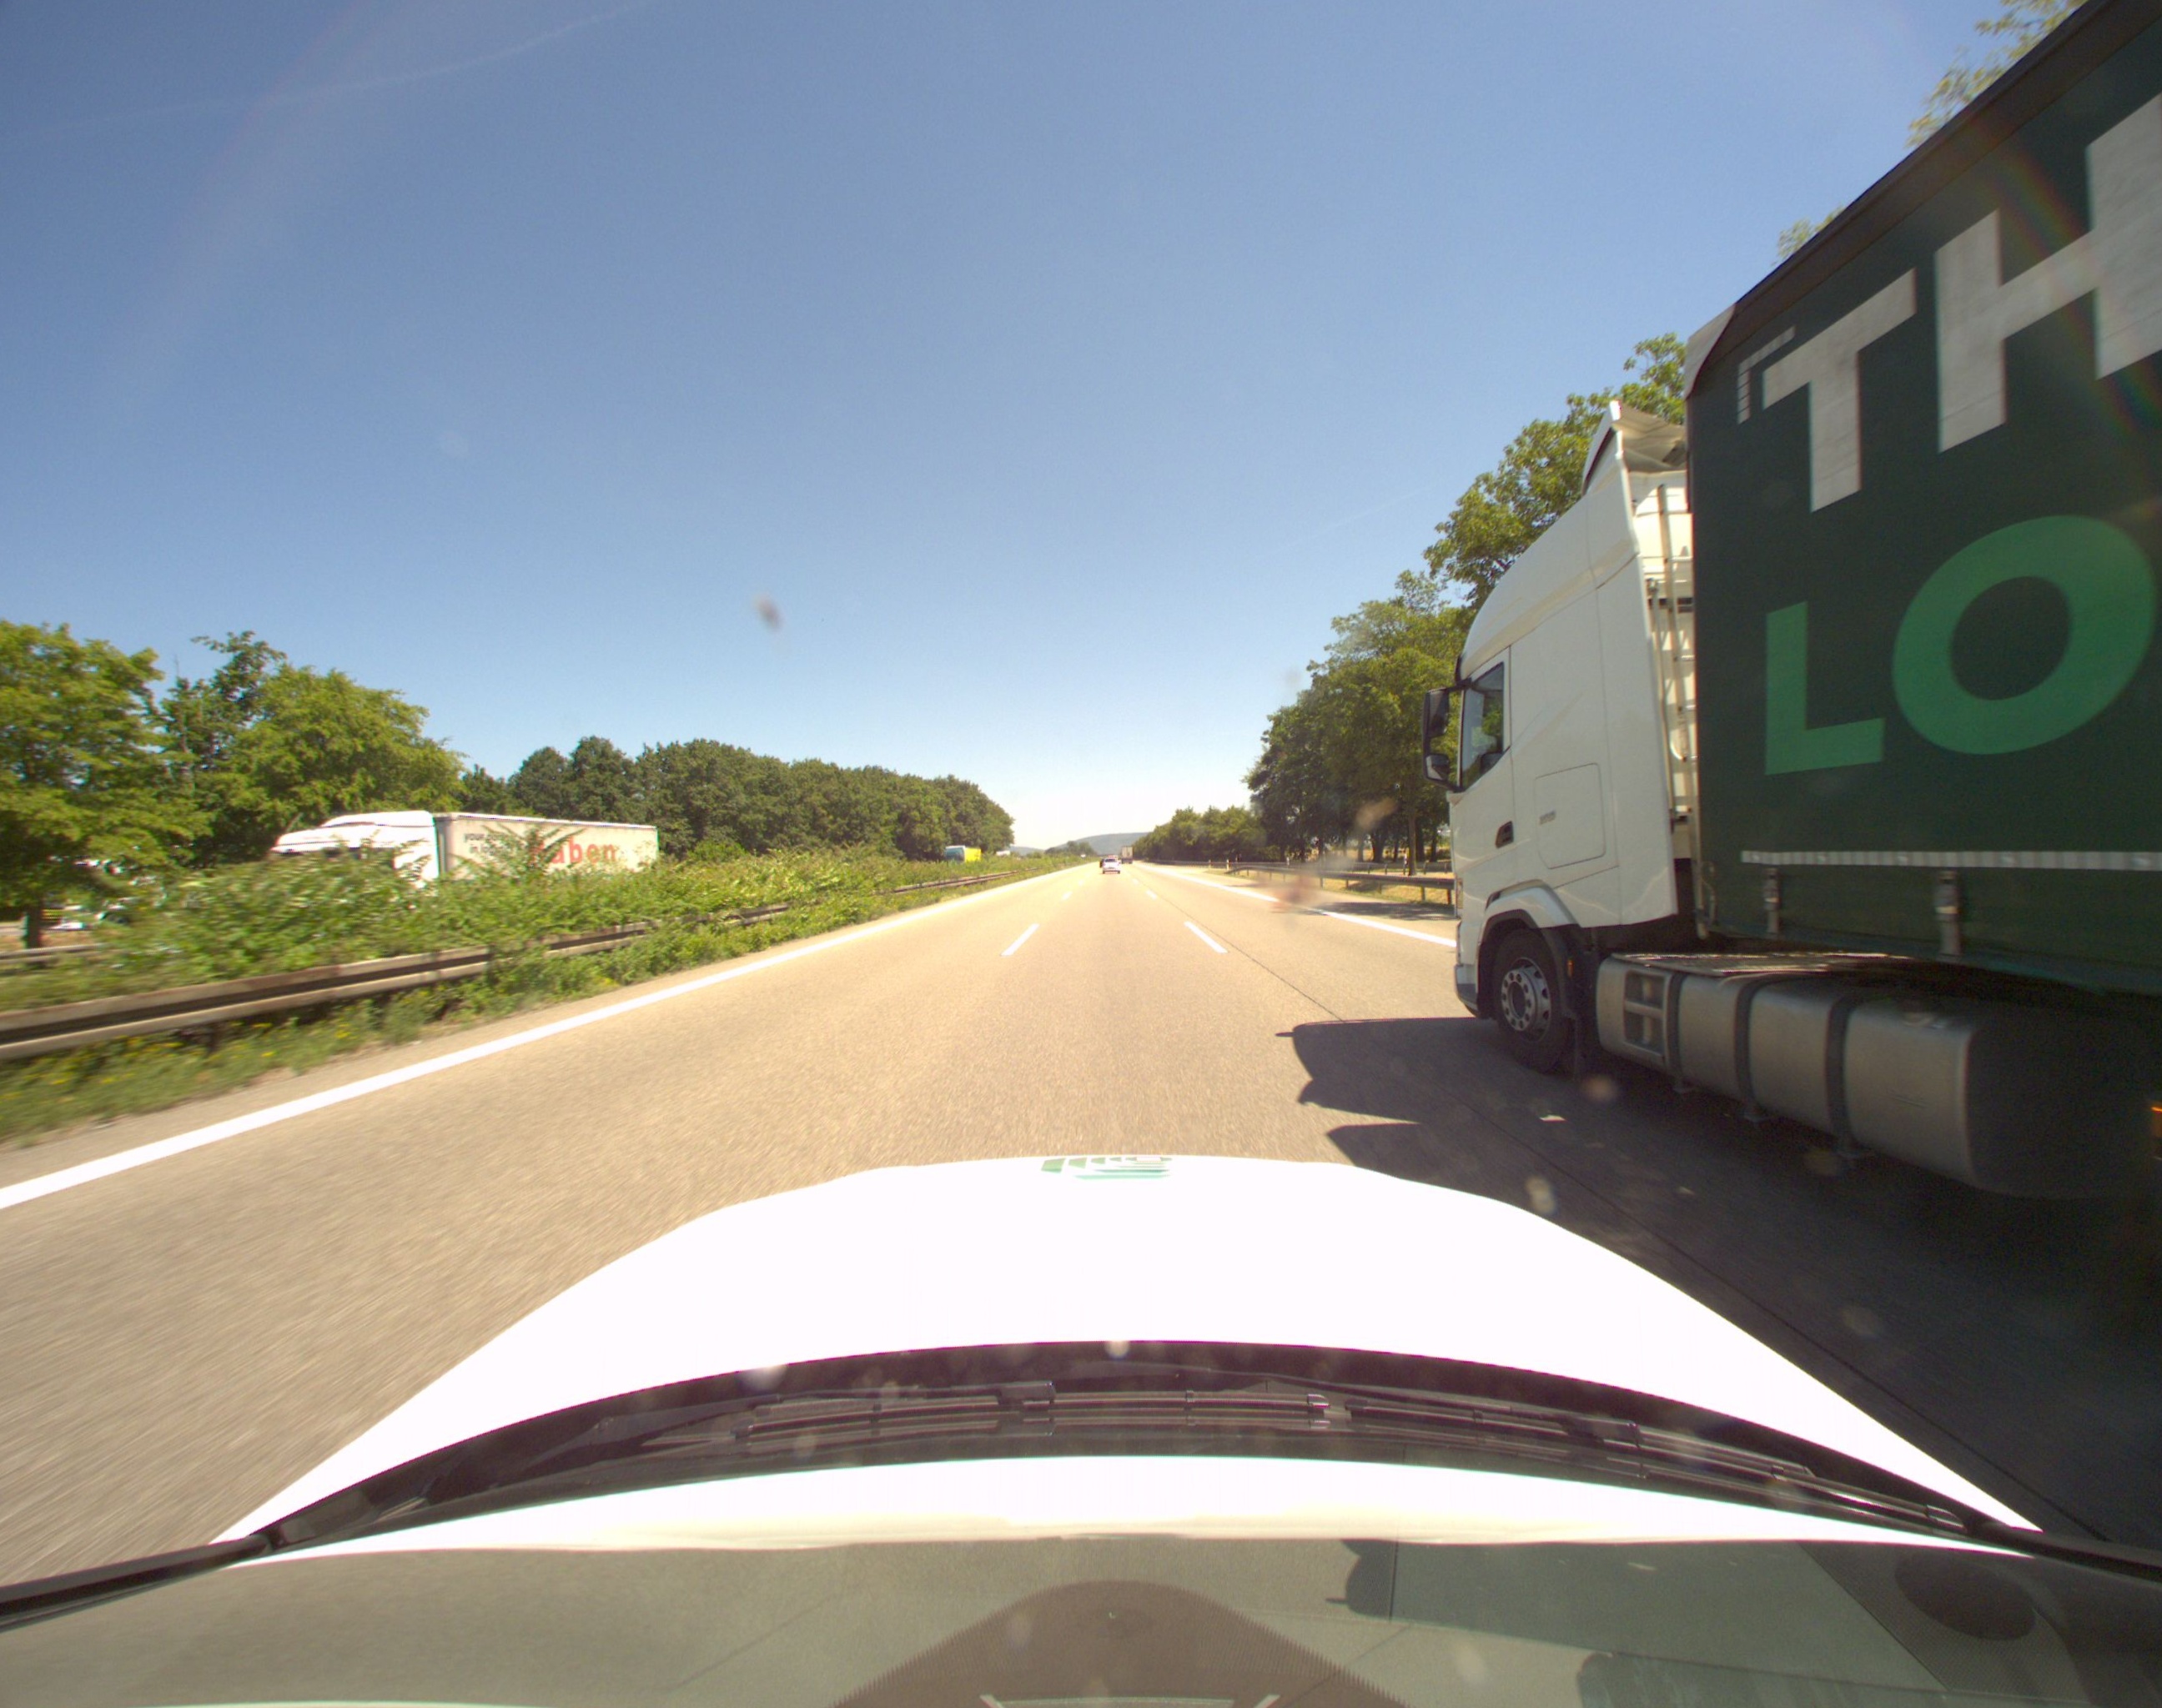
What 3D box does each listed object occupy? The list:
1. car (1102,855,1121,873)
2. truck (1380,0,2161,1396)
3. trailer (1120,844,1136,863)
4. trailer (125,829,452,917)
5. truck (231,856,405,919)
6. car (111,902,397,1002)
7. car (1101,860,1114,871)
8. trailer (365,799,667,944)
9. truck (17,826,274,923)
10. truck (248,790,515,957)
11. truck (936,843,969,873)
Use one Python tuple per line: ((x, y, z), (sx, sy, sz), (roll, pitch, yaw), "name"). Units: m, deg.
((2.927, 0.960, 78.480), (1.725, 1.684, 4.001), (-2, 0, 2), "car")
((4.214, -0.744, 4.277), (2.846, 4.272, 6.865), (0, -1, 1), "truck")
((11.113, 0.005, 191.462), (3.202, 4.345, 13.648), (0, 0, 5), "trailer")
((-42.914, 0.965, 45.517), (3.198, 4.136, 14.079), (0, 0, 7), "trailer")
((-49.349, 2.045, 53.054), (3.575, 3.656, 7.431), (-2, 0, 14), "truck")
((-16.039, 1.823, 16.100), (1.905, 1.571, 3.592), (0, -1, 2), "car")
((4.032, 1.791, 124.841), (1.986, 1.712, 4.001), (0, -1, 2), "car")
((-19.701, 0.567, 29.948), (2.892, 4.272, 11.491), (0, -1, 1), "trailer")
((-43.812, 0.899, 38.629), (3.198, 4.136, 7.406), (0, -1, 7), "truck")
((-19.836, 0.517, 23.613), (2.892, 4.272, 5.493), (0, -1, 1), "truck")
((-16.994, 0.532, 108.246), (3.186, 3.825, 6.397), (0, -1, 1), "truck")
